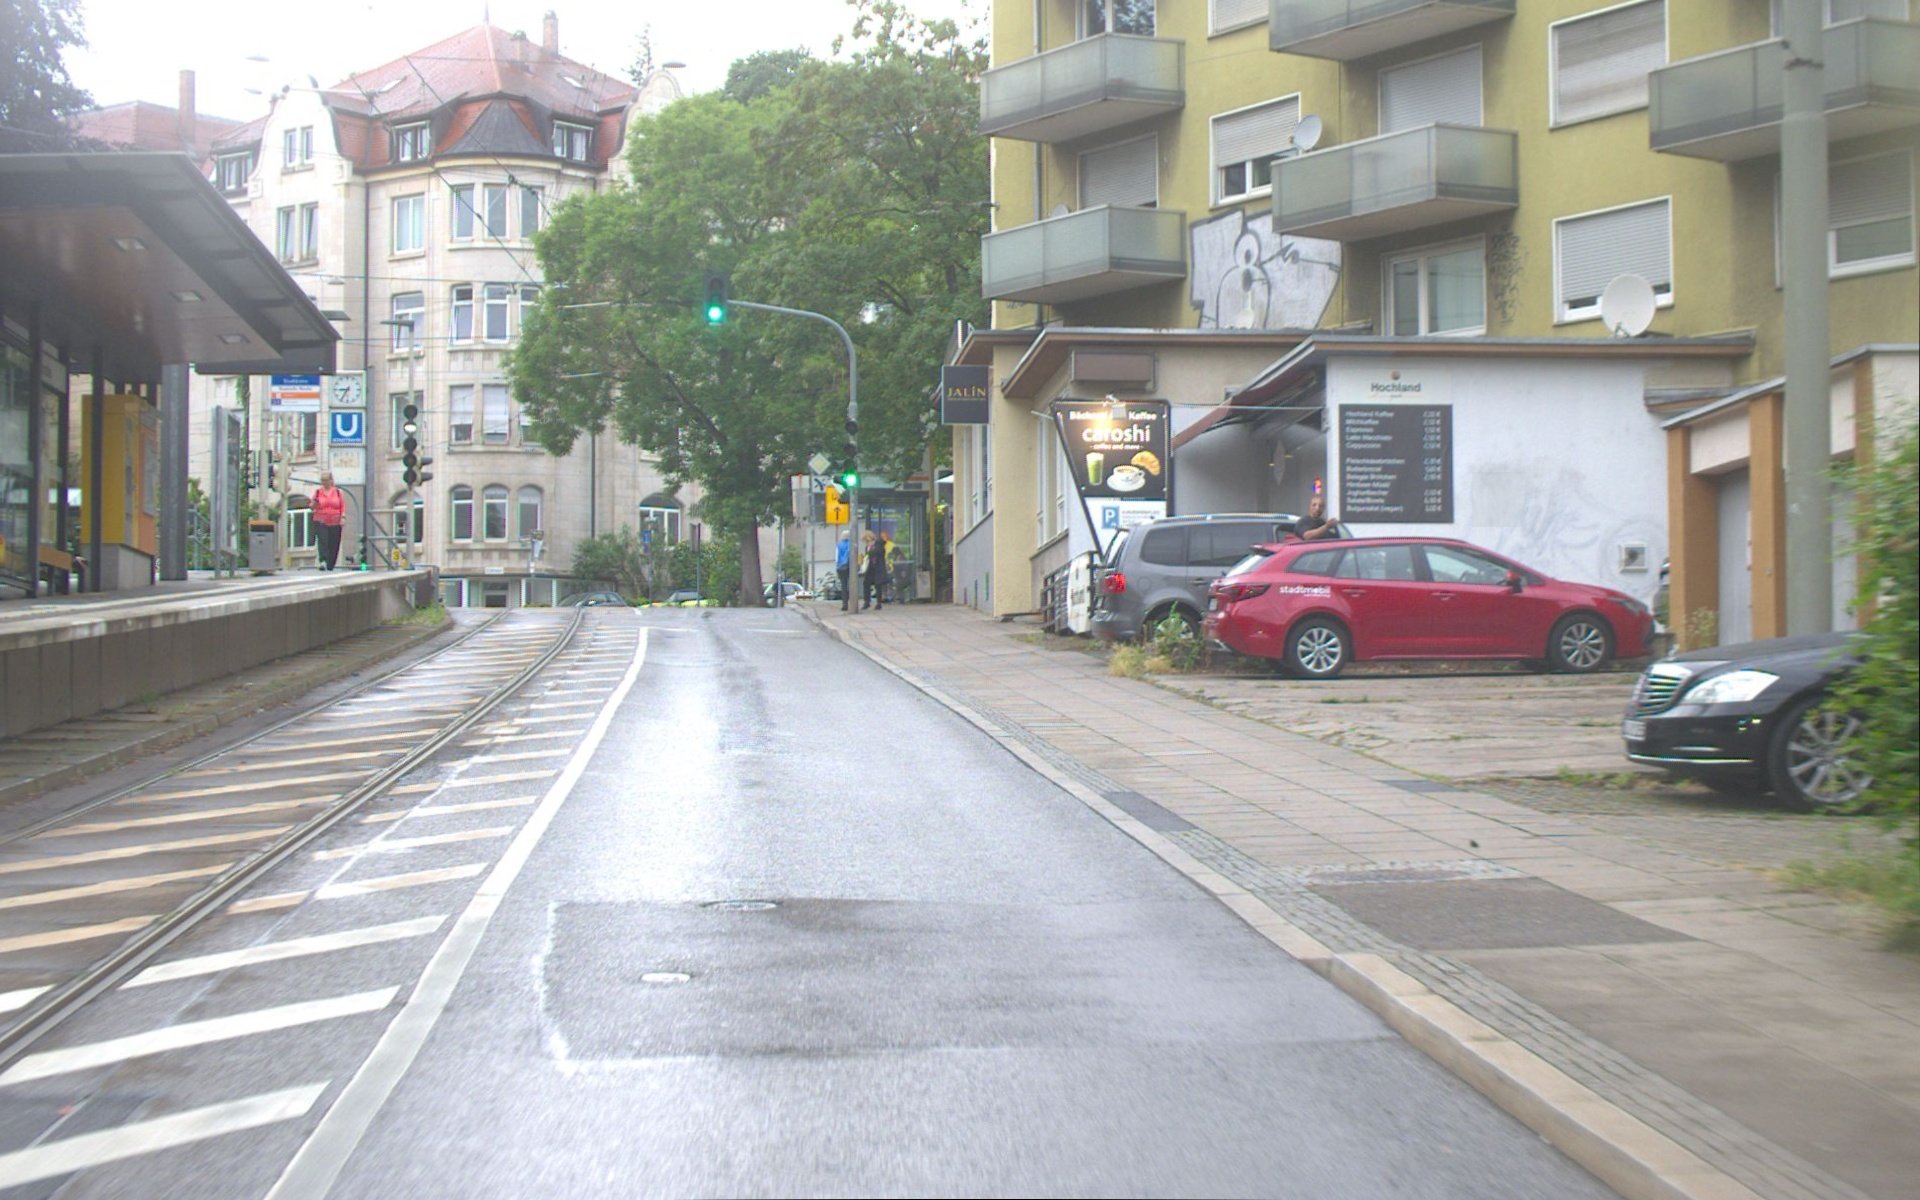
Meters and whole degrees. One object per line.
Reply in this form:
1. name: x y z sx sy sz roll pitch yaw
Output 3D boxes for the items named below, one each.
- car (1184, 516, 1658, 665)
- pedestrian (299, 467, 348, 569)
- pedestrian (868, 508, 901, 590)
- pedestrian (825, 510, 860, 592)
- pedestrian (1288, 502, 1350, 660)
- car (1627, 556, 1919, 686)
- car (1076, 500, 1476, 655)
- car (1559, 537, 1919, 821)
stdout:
1. car: 4.724 -0.108 35.596 4.568 1.433 1.765 -1 1 -5
2. pedestrian: -9.699 -1.255 52.418 0.671 1.542 0.771 0 1 -5
3. pedestrian: -1.456 -0.985 66.313 0.545 1.548 0.559 -2 1 -7
4. pedestrian: -2.235 -0.930 65.502 0.588 1.548 0.650 -2 1 -5
5. pedestrian: 3.961 -0.216 37.862 0.607 1.708 0.721 -1 1 8
6. car: 10.179 0.241 39.781 4.512 1.396 1.780 -1 -2 -3
7. car: 3.565 -0.258 39.237 4.328 1.668 1.781 -1 1 -2
8. car: 6.175 0.479 19.944 4.930 1.431 1.975 2 3 -4
